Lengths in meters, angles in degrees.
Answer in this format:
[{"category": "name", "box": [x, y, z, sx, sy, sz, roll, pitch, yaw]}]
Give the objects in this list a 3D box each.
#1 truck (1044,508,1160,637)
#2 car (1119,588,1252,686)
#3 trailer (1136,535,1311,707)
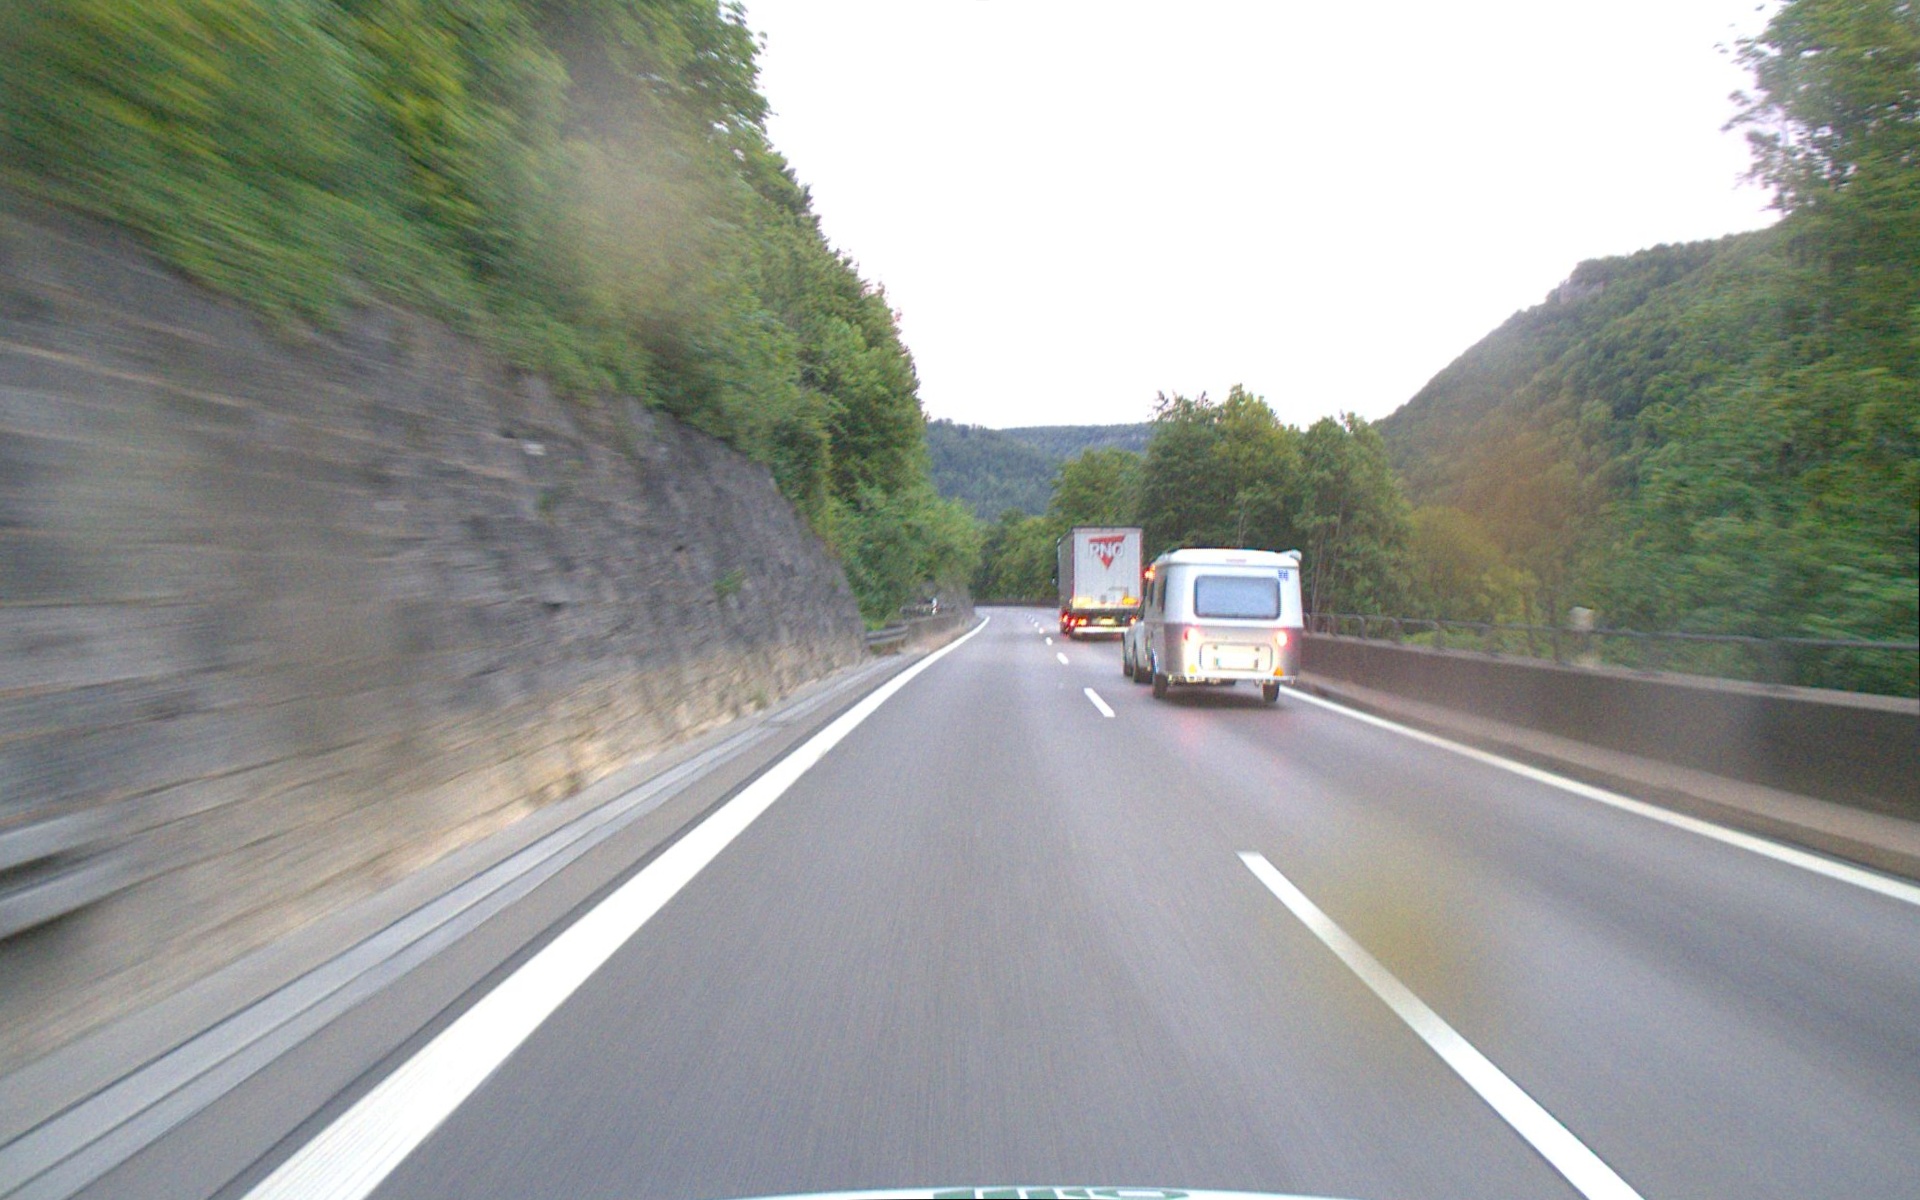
[{"category": "truck", "box": [5.363, -0.922, 65.838, 3.228, 4.245, 16.504, -4, 0, 1]}, {"category": "car", "box": [4.173, 0.658, 31.333, 1.952, 1.642, 4.865, 2, 0, 2]}, {"category": "trailer", "box": [4.021, 0.294, 26.232, 2.012, 2.416, 5.939, 0, 0, 2]}]
